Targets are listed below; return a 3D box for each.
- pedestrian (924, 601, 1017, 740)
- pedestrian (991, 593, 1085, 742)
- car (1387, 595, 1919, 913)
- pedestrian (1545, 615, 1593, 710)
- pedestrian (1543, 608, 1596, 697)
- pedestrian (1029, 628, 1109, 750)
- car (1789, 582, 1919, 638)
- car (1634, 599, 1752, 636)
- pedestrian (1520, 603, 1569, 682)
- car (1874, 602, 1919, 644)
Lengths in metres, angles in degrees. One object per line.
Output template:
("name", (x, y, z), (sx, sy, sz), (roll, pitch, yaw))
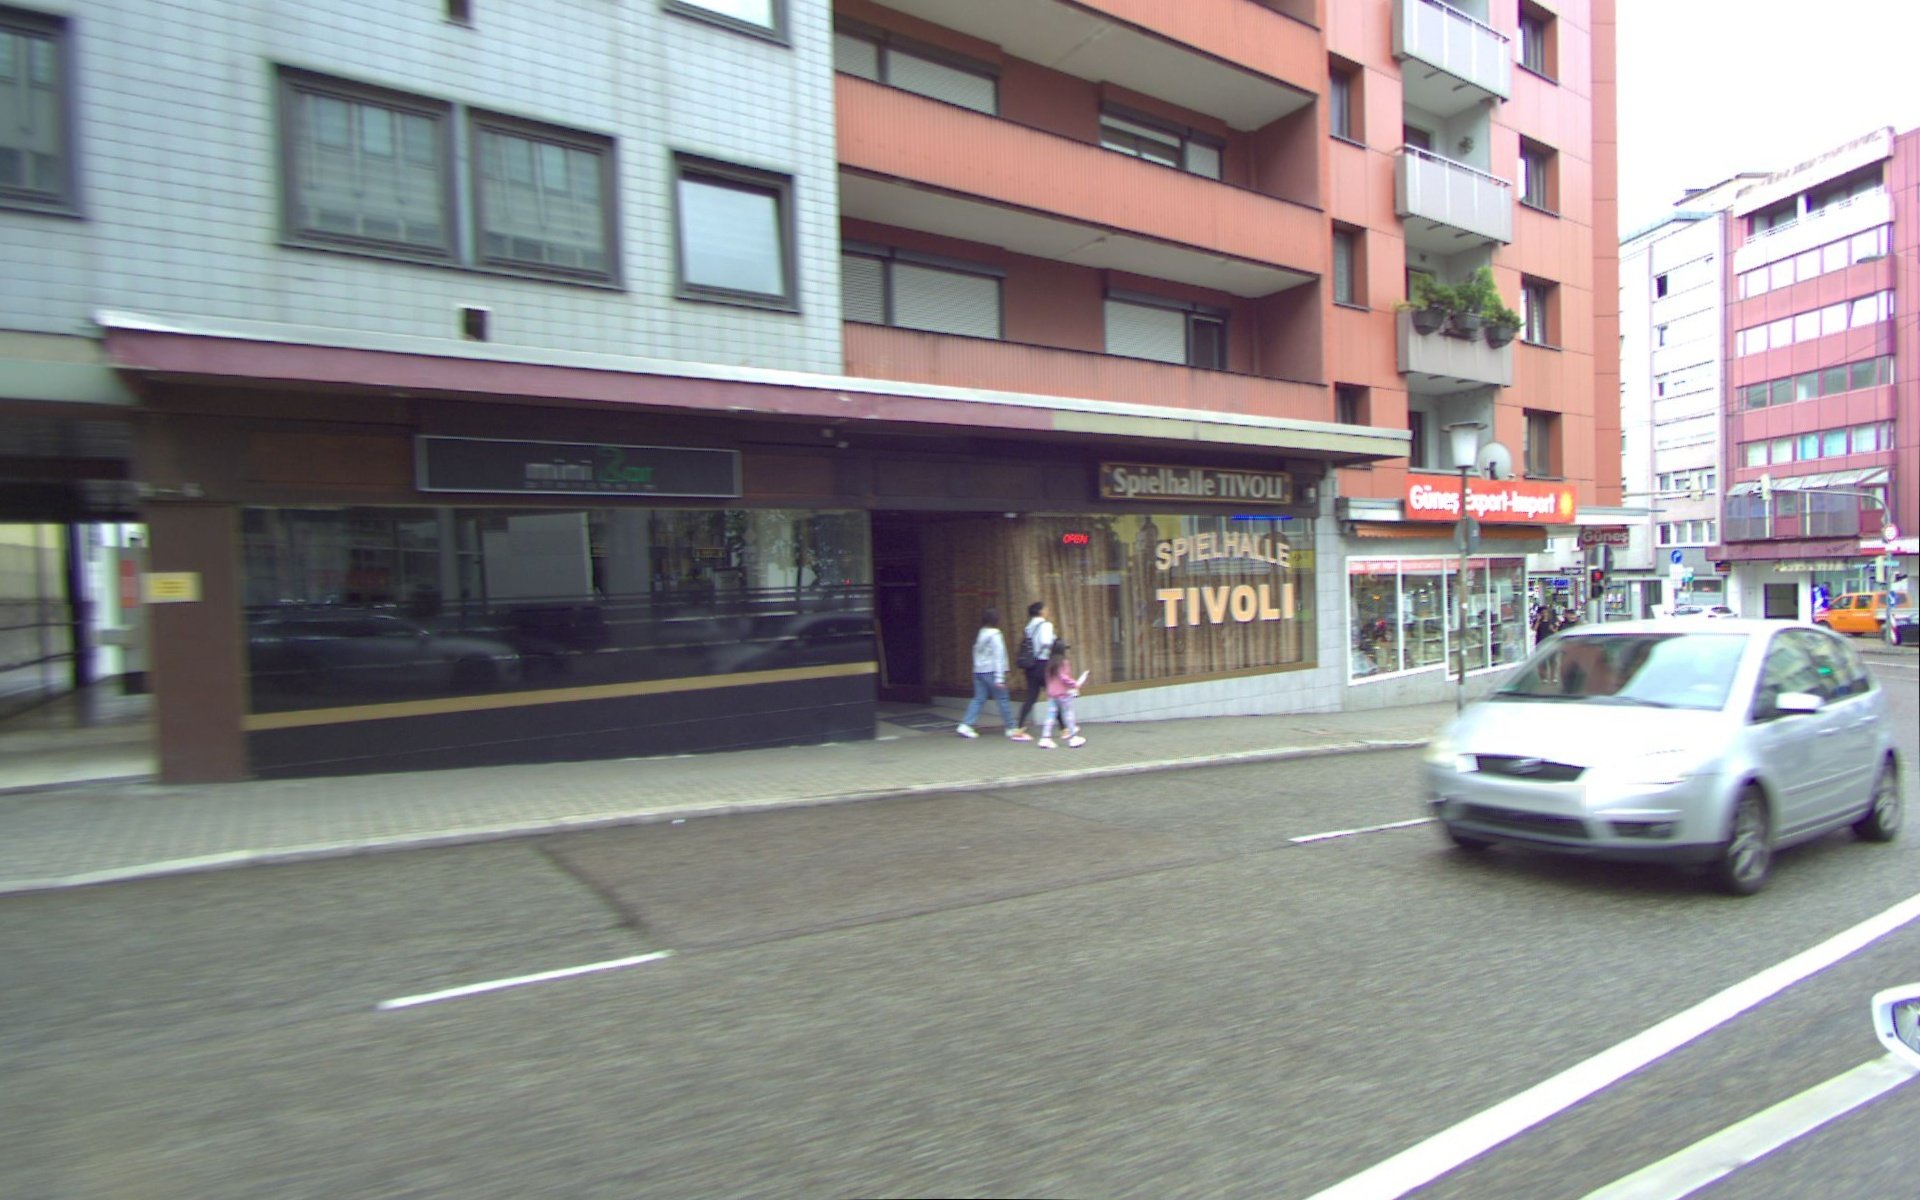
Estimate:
("pedestrian", (0.123, 0.821, 12.165), (0.718, 1.582, 0.820), (1, 2, -41))
("pedestrian", (0.951, 0.790, 12.294), (0.718, 1.712, 0.820), (1, 2, -41))
("car", (4.984, 0.876, 7.021), (4.132, 1.613, 1.725), (2, -3, -34))
("pedestrian", (11.272, 1.136, 18.580), (0.618, 1.720, 0.550), (1, 0, -36))
("pedestrian", (13.235, 1.129, 21.815), (0.838, 1.873, 0.753), (1, 0, -42))
("pedestrian", (1.265, 1.008, 11.664), (0.718, 1.341, 0.528), (1, 2, -42))
("car", (39.738, 0.396, 43.792), (2.208, 2.258, 5.420), (2, 1, -8))
("car", (35.426, 0.796, 48.719), (1.895, 1.535, 4.658), (3, 1, -6))
("pedestrian", (13.945, 1.000, 23.983), (0.813, 1.856, 0.724), (1, 0, 13))
("car", (35.893, 0.843, 36.301), (1.960, 1.506, 4.238), (1, -1, 2))
